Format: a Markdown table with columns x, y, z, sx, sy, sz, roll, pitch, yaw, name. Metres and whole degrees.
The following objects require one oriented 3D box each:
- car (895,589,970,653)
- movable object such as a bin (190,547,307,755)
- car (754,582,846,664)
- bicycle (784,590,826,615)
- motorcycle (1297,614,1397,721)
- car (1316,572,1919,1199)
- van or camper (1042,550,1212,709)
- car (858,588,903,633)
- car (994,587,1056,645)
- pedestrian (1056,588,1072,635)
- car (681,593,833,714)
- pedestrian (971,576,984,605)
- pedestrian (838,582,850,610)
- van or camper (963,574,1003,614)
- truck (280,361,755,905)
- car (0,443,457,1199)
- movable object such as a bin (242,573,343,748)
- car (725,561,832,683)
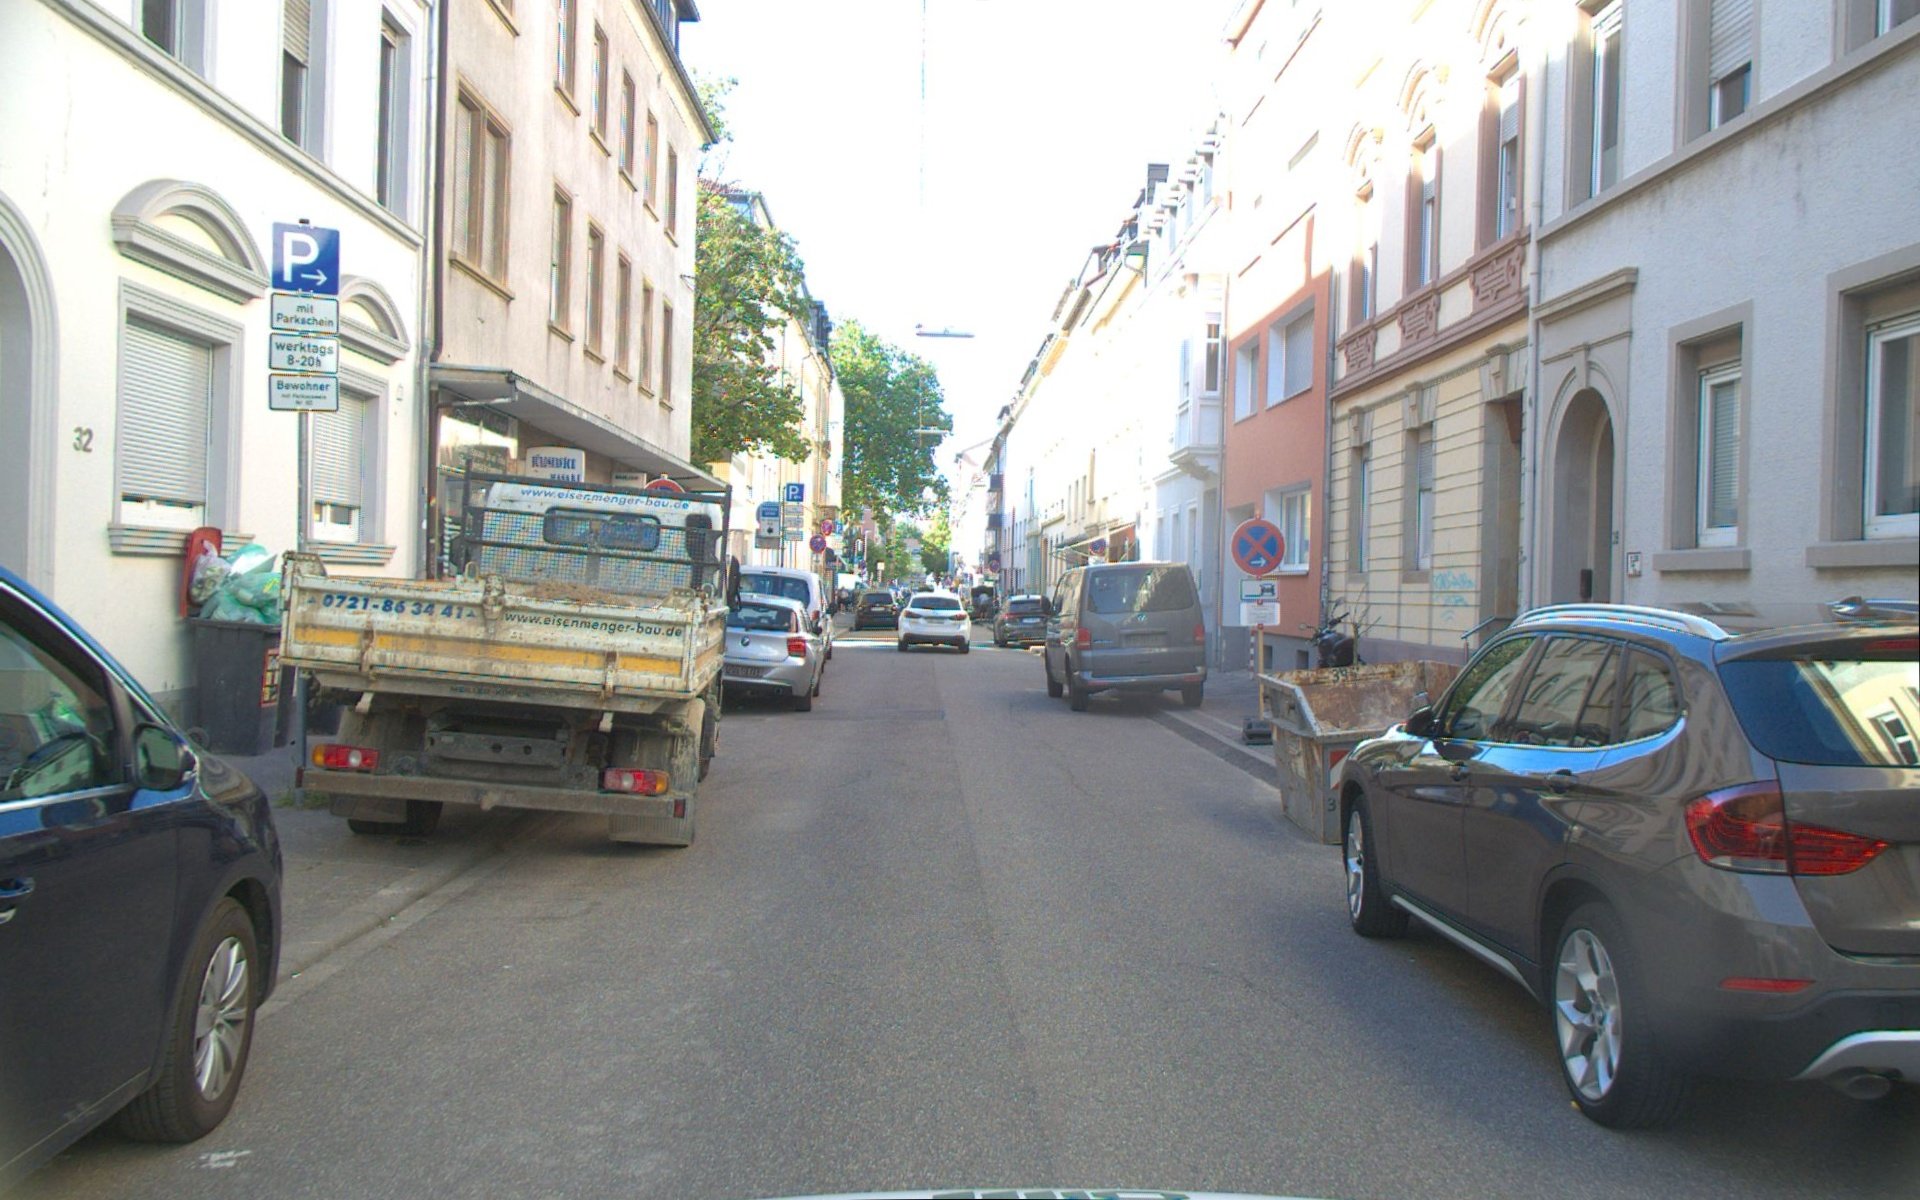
| x | y | z | sx | sy | sz | roll | pitch | yaw | name |
| --- | --- | --- | --- | --- | --- | --- | --- | --- | --- |
| -0.683 | 0.484 | 42.041 | 1.796 | 1.512 | 4.056 | 1 | 0 | -1 | car |
| -5.469 | 0.382 | 12.739 | 0.626 | 1.559 | 0.587 | 1 | 0 | -1 | movable object such as a bin |
| -3.346 | 0.447 | 35.047 | 1.613 | 1.604 | 3.678 | 1 | 0 | -1 | car |
| -7.210 | 0.112 | 77.131 | 1.933 | 1.134 | 0.505 | 2 | 0 | -37 | bicycle |
| 4.920 | 0.823 | 21.222 | 0.584 | 1.207 | 2.760 | -3 | 0 | 0 | motorcycle |
| 2.749 | 0.724 | 6.282 | 1.704 | 1.604 | 4.376 | 1 | 1 | -2 | car |
| 2.320 | 0.373 | 24.083 | 1.740 | 2.072 | 4.567 | 0 | 0 | -4 | van or camper |
| -3.021 | 0.375 | 63.485 | 1.592 | 1.625 | 3.579 | 2 | 0 | -1 | car |
| 1.881 | 0.445 | 48.757 | 1.613 | 1.604 | 3.678 | 1 | 0 | -1 | car |
| 3.903 | 0.431 | 62.152 | 0.517 | 1.757 | 0.490 | 0 | -1 | 14 | pedestrian |
| -2.660 | 0.650 | 22.422 | 1.723 | 1.440 | 3.998 | -1 | 1 | -3 | car |
| 0.927 | -0.496 | 87.690 | 0.614 | 1.490 | 0.575 | 1 | -1 | -1 | pedestrian |
| -6.392 | -0.214 | 91.270 | 0.614 | 1.490 | 0.575 | 1 | -1 | -1 | pedestrian |
| 1.189 | -0.291 | 86.274 | 1.953 | 1.959 | 3.999 | 1 | -1 | -1 | van or camper |
| -2.548 | 0.132 | 11.258 | 2.115 | 2.635 | 6.241 | -1 | 0 | -6 | truck |
| -2.813 | 0.571 | 2.790 | 2.392 | 1.735 | 5.241 | 2 | 1 | -1 | car |
| -5.413 | 0.477 | 13.434 | 0.550 | 1.383 | 0.632 | 1 | 0 | -1 | movable object such as a bin |
| -3.019 | 0.334 | 28.152 | 1.614 | 1.900 | 3.997 | 1 | 0 | -4 | car |
